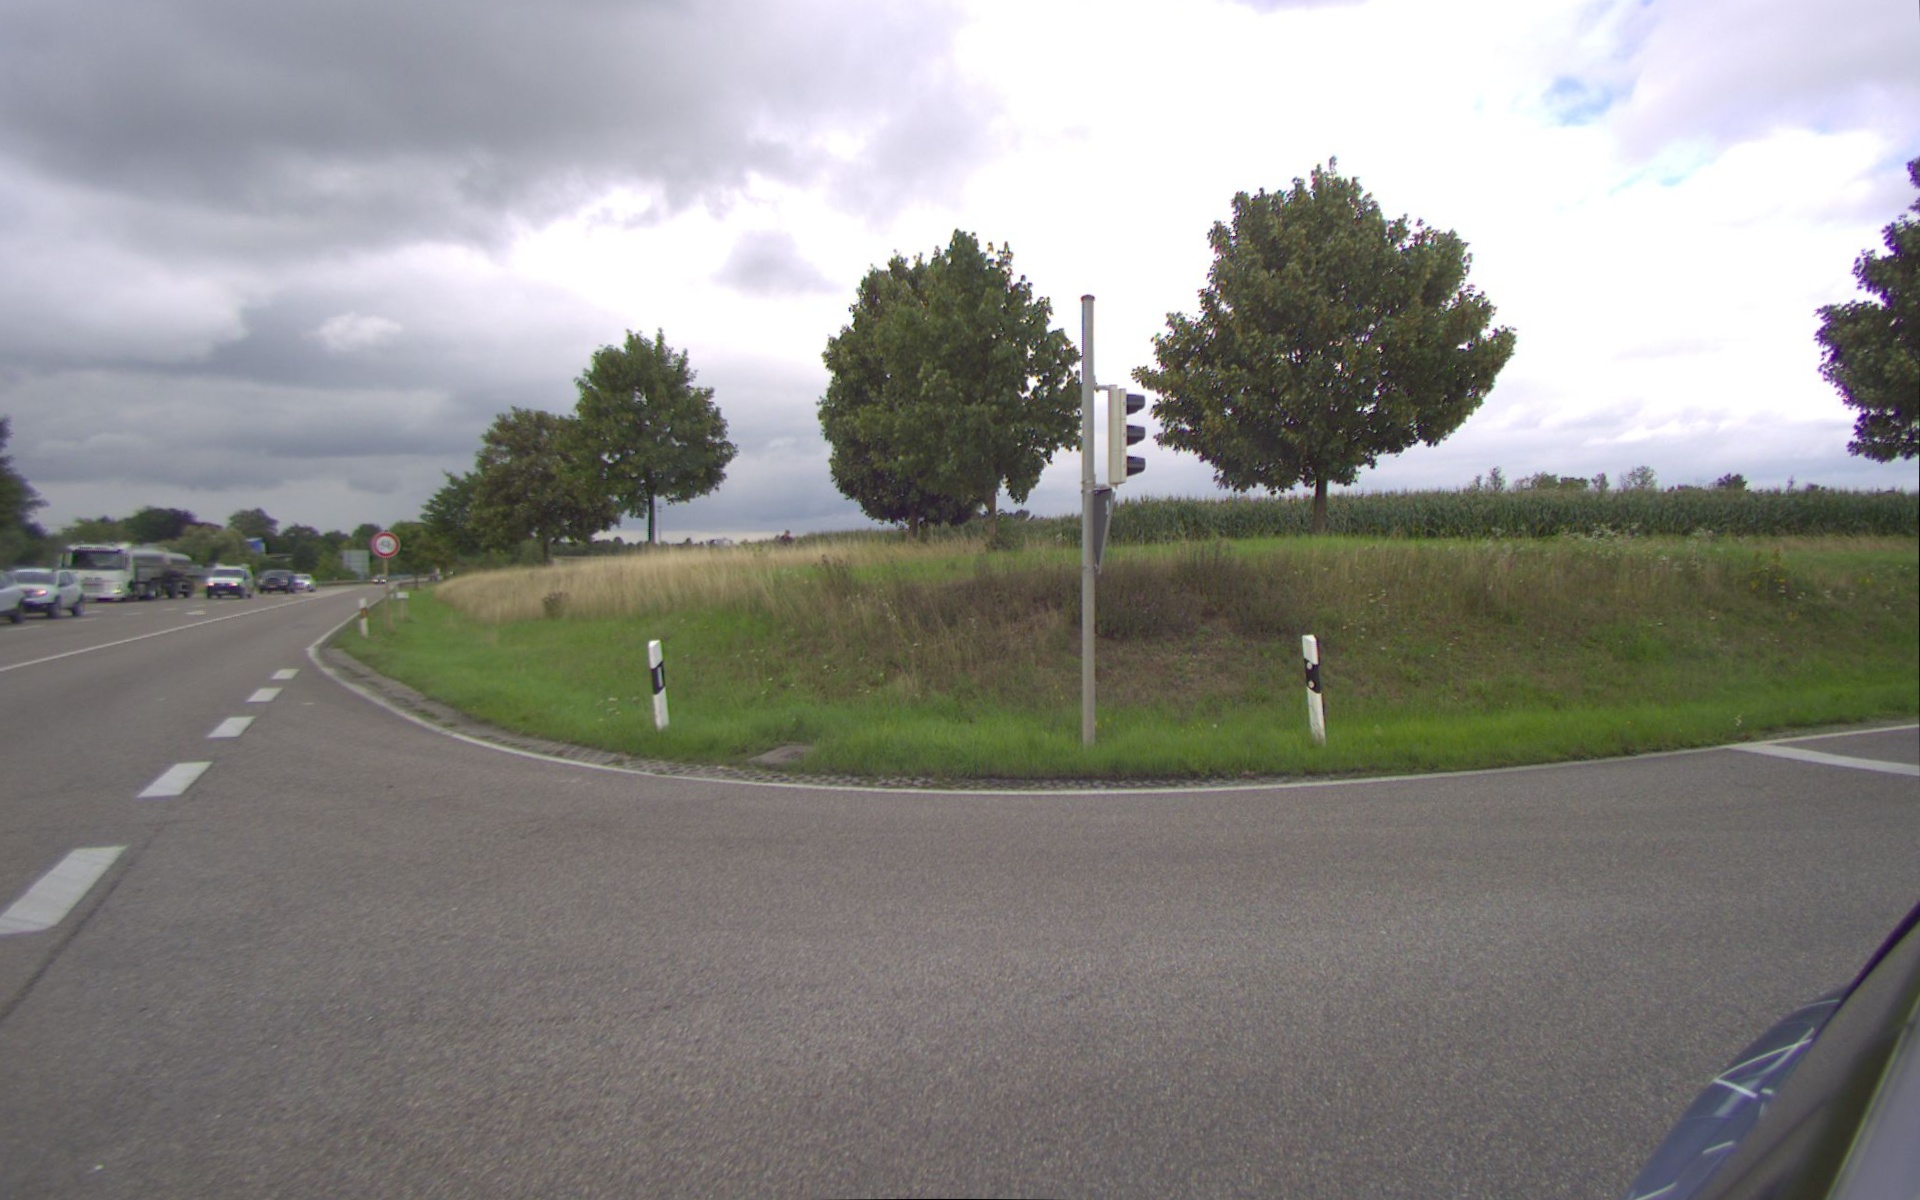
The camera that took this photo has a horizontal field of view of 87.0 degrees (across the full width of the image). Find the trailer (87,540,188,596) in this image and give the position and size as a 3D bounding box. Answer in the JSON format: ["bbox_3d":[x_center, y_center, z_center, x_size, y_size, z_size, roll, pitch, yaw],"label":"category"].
[{"bbox_3d":[-50.068,-1.910,61.938,3.047,3.129,10.674,0,1,-30],"label":"trailer"}]

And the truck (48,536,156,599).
[{"bbox_3d":[-45.590,-1.696,54.031,3.047,3.148,7.415,0,1,-30],"label":"truck"}]

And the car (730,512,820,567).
[{"bbox_3d":[-7.495,-2.400,40.759,1.964,2.038,3.998,-3,3,-37],"label":"car"}]

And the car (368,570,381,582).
[{"bbox_3d":[-100.765,-4.116,174.096,1.960,2.039,4.508,0,1,-30],"label":"car"}]

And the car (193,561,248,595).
[{"bbox_3d":[-46.215,-1.382,63.359,2.126,2.039,4.686,0,1,-28],"label":"car"}]

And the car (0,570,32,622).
[{"bbox_3d":[-27.449,-0.114,27.723,1.960,1.436,4.453,0,1,-29],"label":"car"}]

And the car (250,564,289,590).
[{"bbox_3d":[-56.405,-1.859,82.751,2.126,2.039,4.533,0,1,-28],"label":"car"}]

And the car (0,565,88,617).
[{"bbox_3d":[-30.401,-0.329,33.168,1.960,1.612,4.452,-1,1,-30],"label":"car"}]

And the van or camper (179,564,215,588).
[{"bbox_3d":[-68.013,-2.152,90.256,1.960,2.038,4.005,-3,2,-29],"label":"van or camper"}]

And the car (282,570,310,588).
[{"bbox_3d":[-61.376,-1.927,93.628,2.128,1.616,4.758,-1,1,-33],"label":"car"}]
